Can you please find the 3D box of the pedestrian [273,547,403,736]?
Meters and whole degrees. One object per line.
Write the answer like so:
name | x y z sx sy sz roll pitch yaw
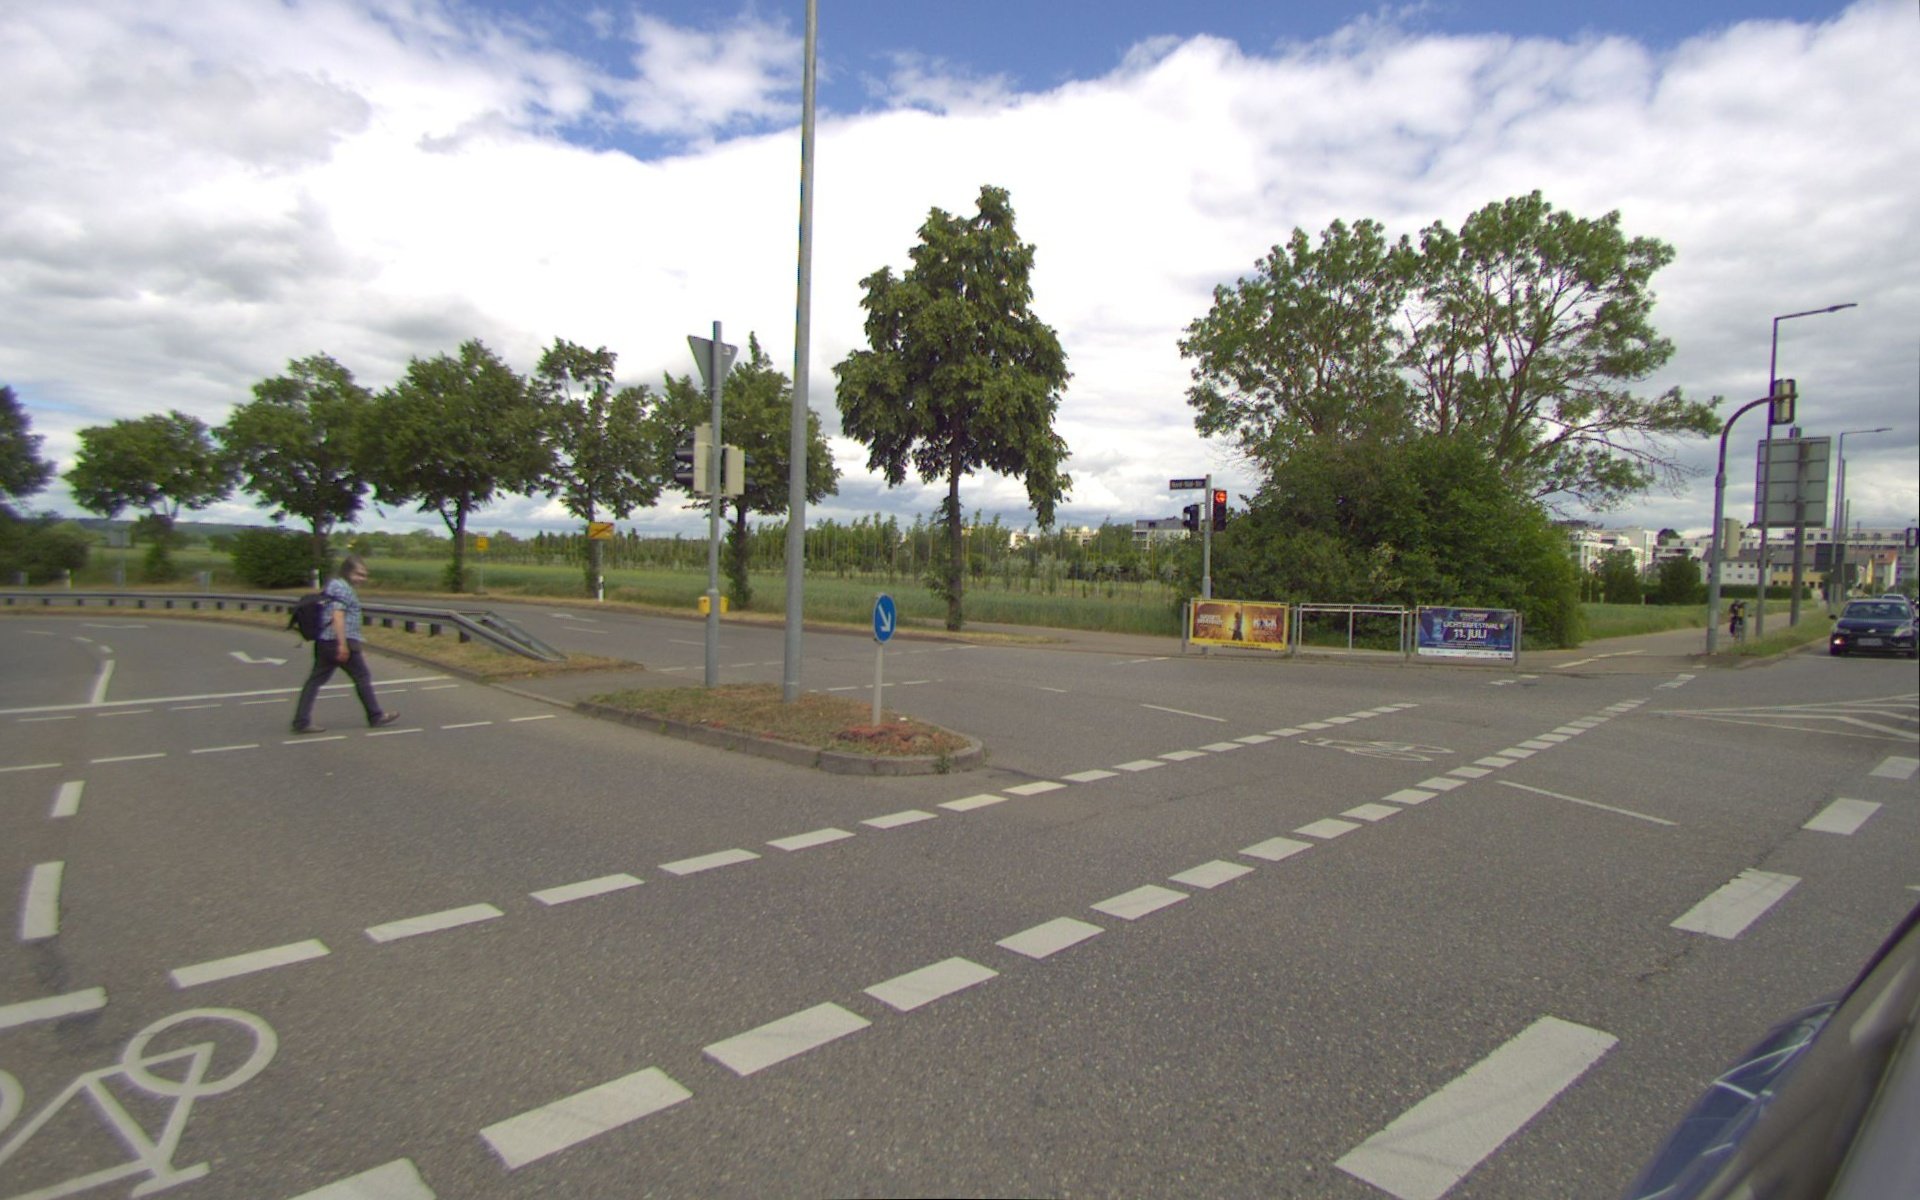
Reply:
pedestrian | -6.336 0.388 10.316 1.025 1.815 0.719 -1 1 -41

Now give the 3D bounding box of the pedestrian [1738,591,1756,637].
pedestrian | 30.155 0.536 38.770 0.491 1.724 0.616 0 1 43

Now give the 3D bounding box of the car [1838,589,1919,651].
car | 23.658 0.454 25.732 3.678 1.436 1.680 -1 2 -44
